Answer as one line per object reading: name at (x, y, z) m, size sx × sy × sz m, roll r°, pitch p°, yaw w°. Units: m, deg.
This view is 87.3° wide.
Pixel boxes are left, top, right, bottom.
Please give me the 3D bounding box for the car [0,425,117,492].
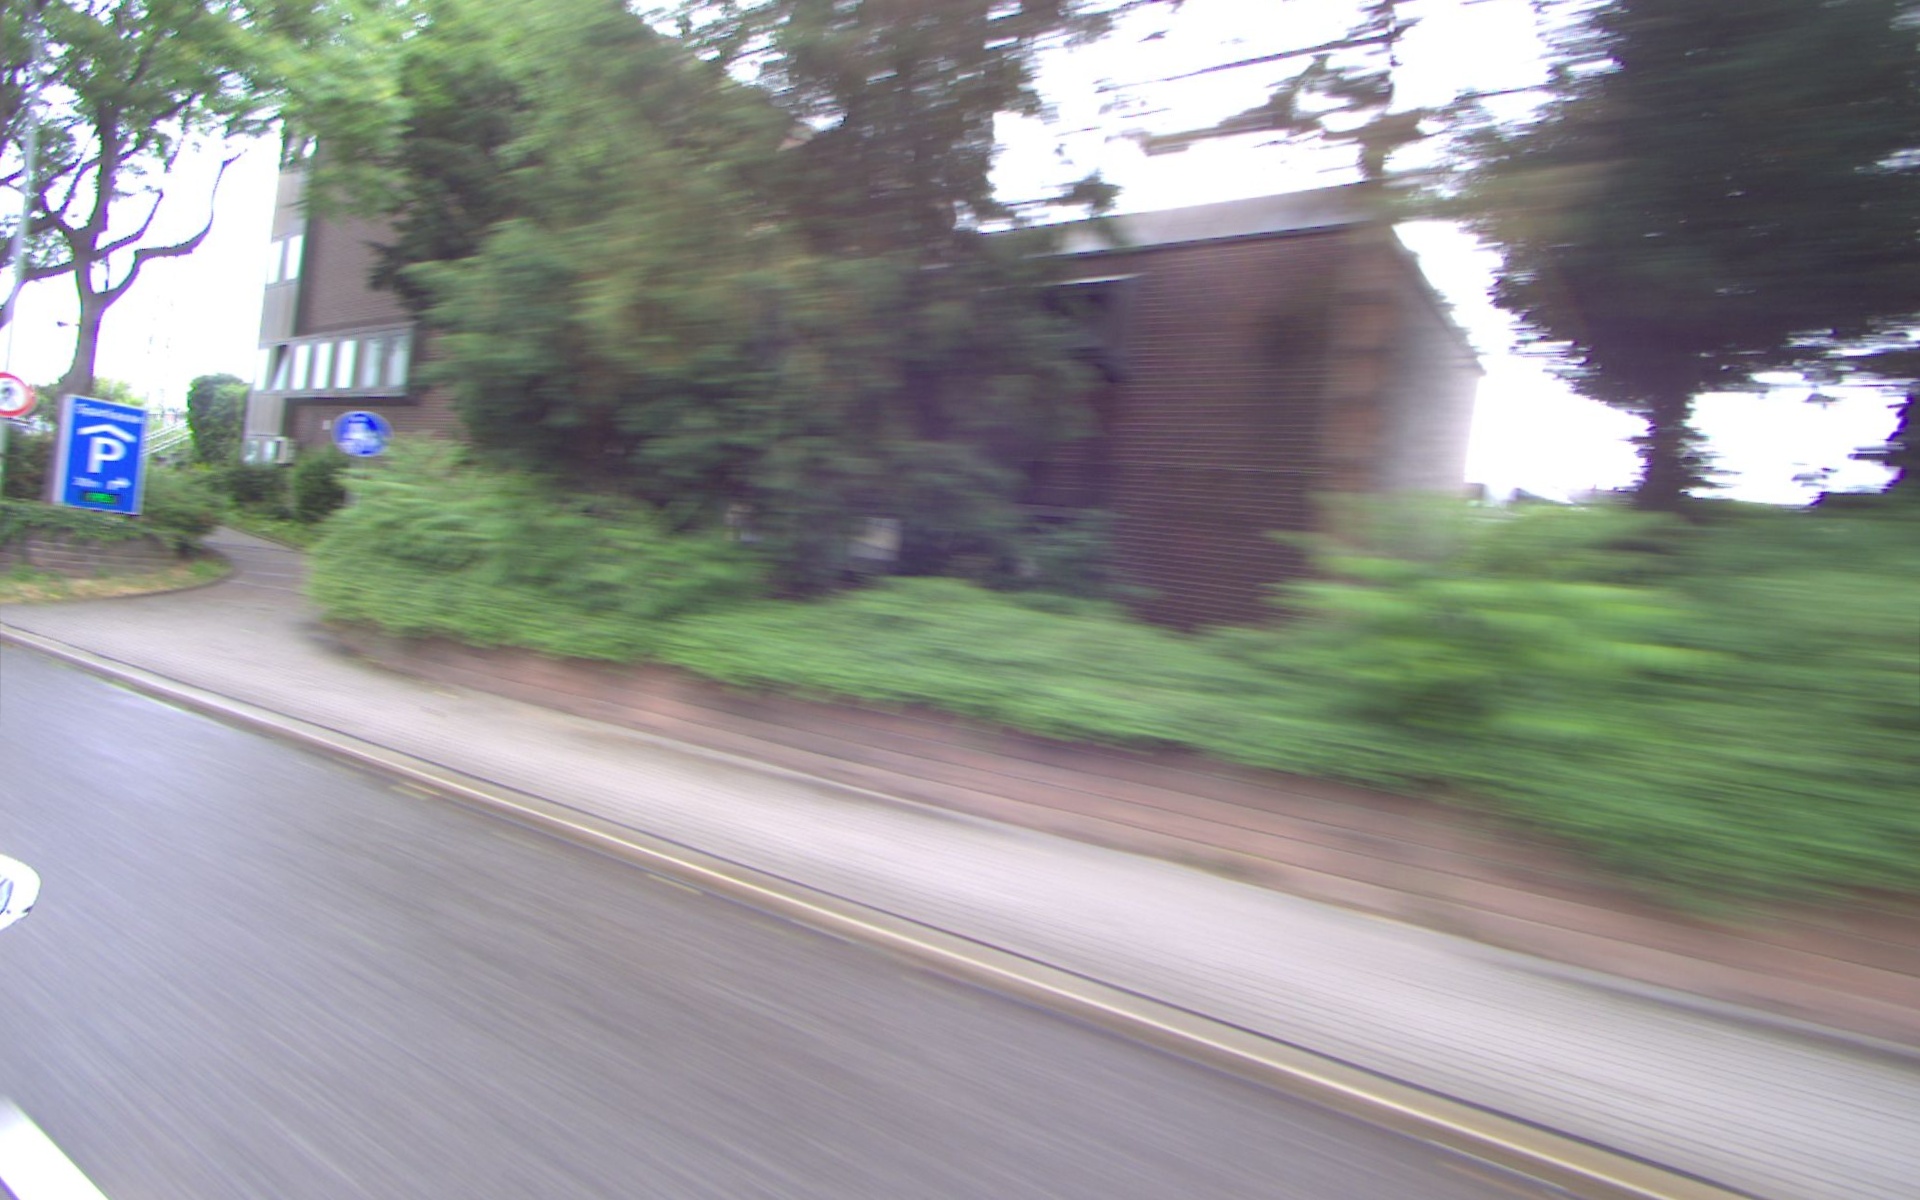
car at (-32.609, -5.042, 35.828) m, size 1.617 × 1.726 × 3.621 m, roll 7°, pitch -1°, yaw 39°
